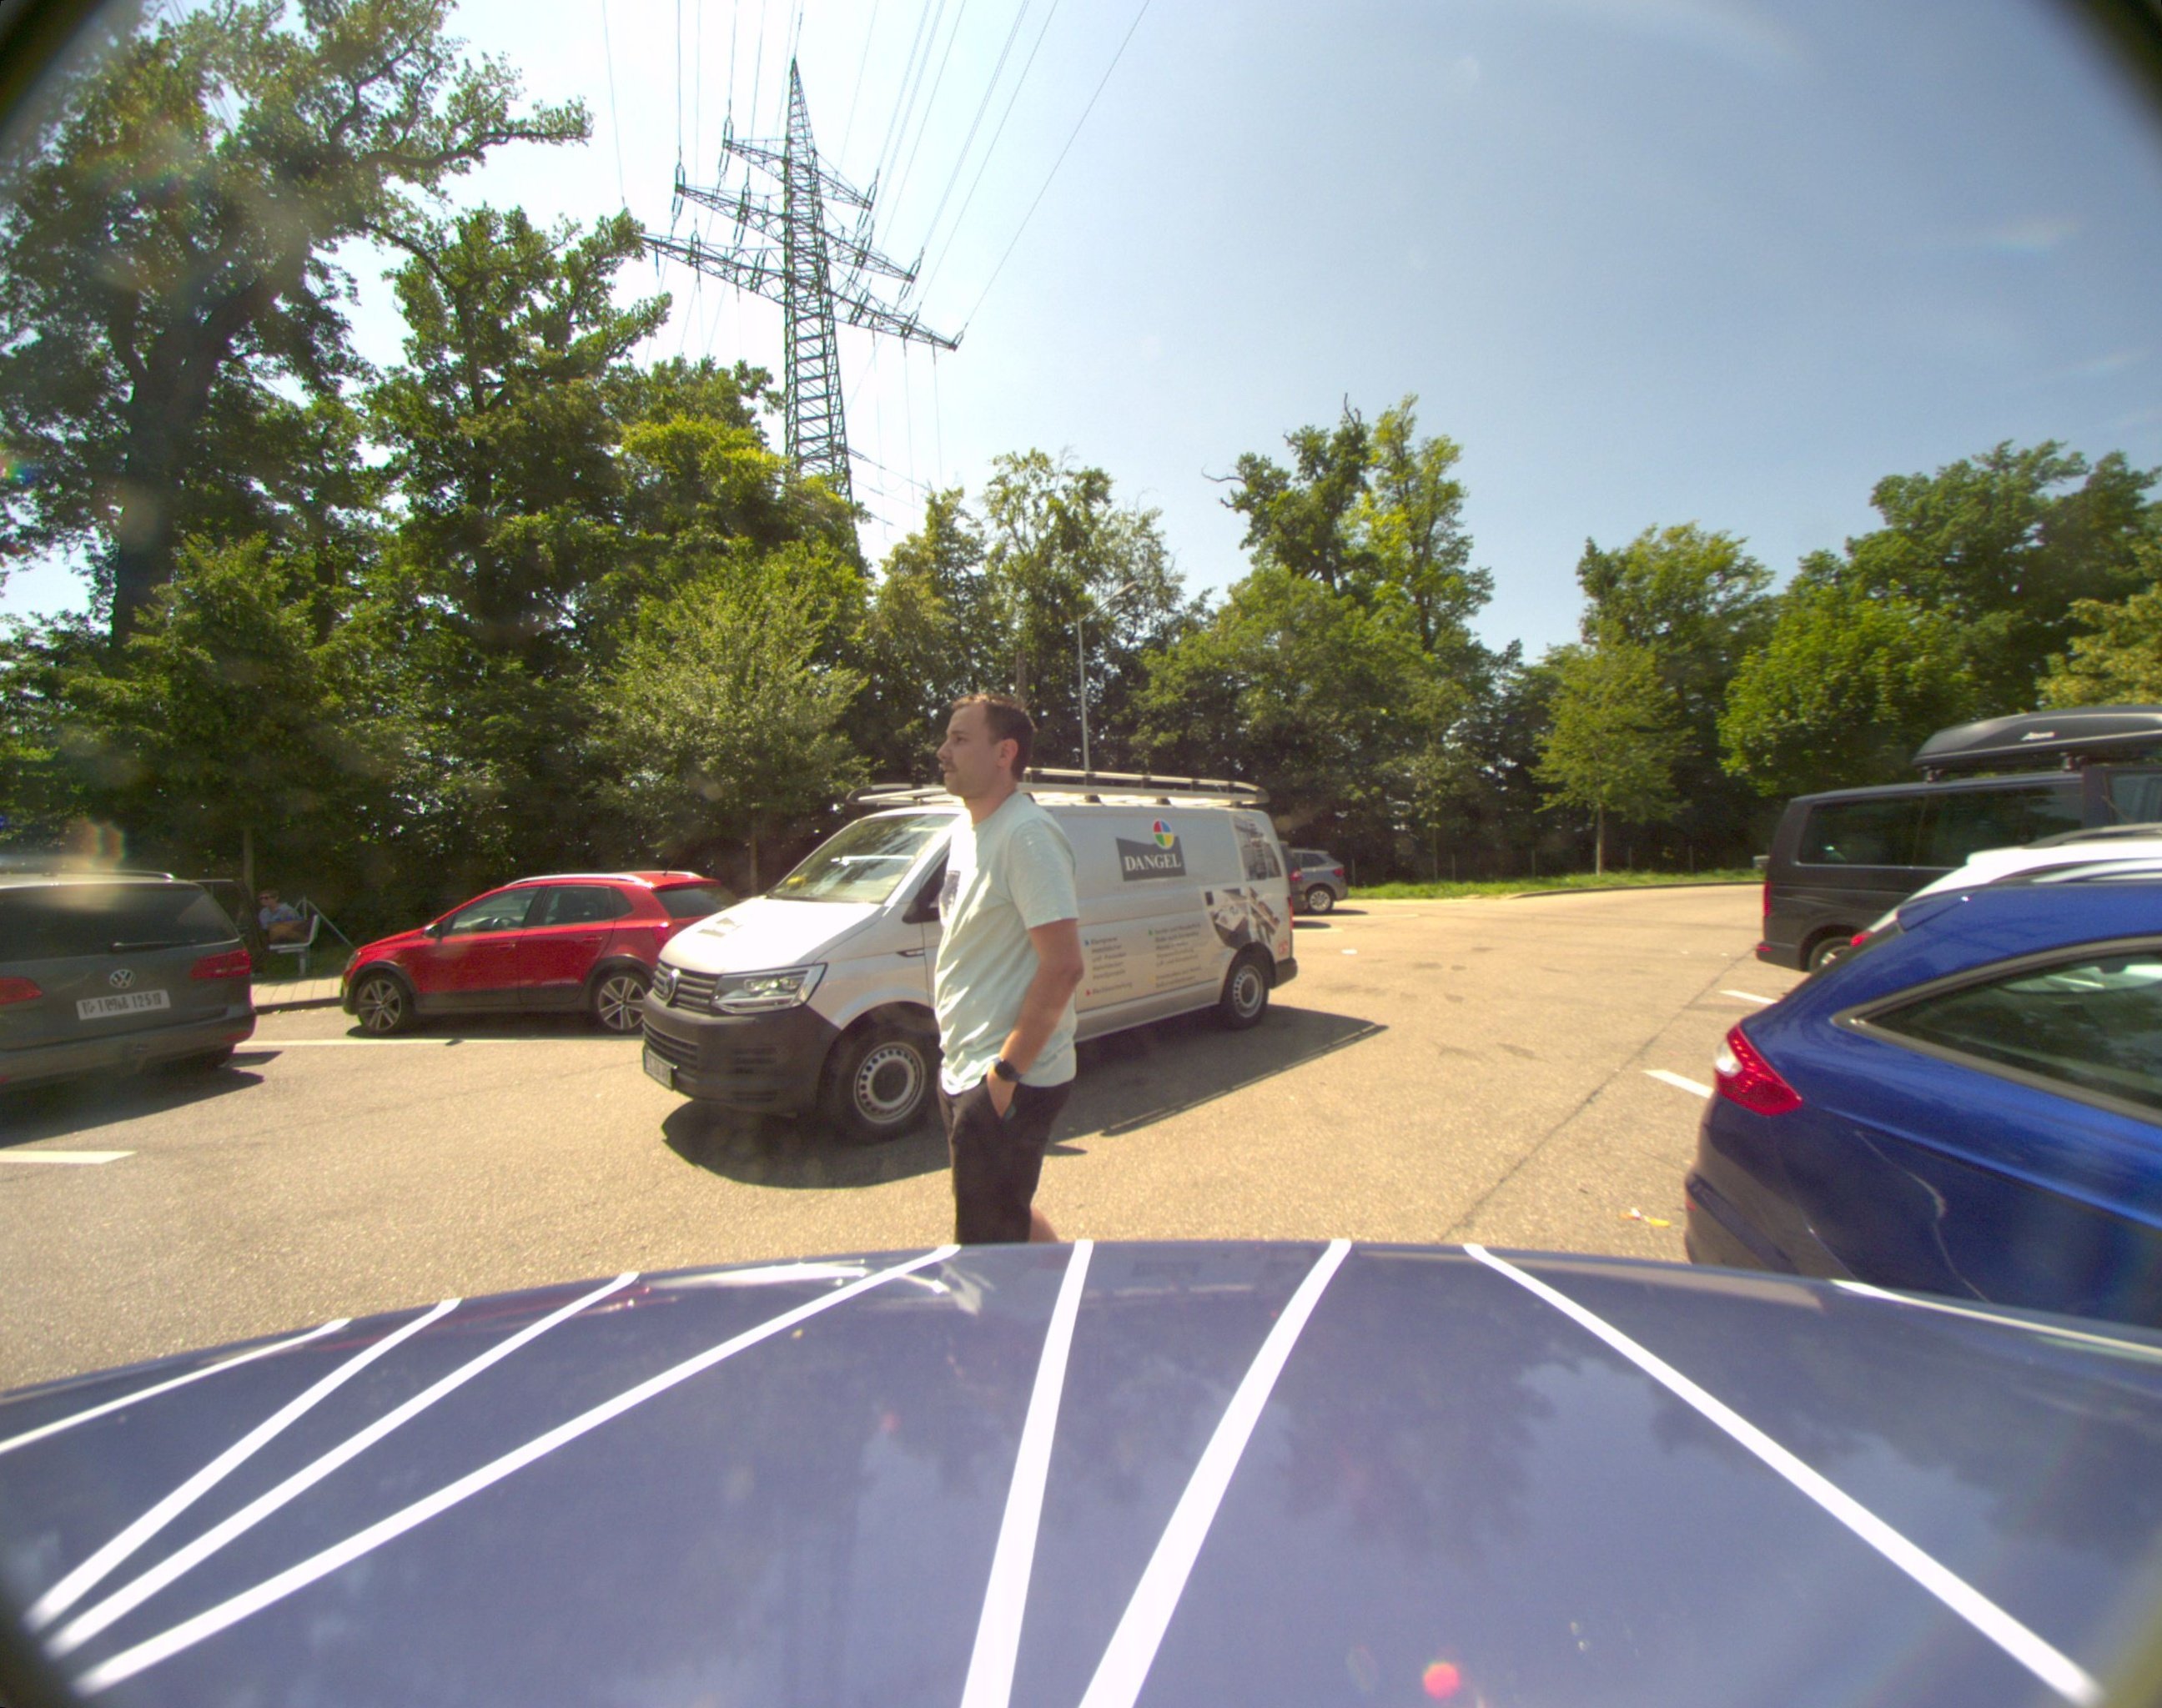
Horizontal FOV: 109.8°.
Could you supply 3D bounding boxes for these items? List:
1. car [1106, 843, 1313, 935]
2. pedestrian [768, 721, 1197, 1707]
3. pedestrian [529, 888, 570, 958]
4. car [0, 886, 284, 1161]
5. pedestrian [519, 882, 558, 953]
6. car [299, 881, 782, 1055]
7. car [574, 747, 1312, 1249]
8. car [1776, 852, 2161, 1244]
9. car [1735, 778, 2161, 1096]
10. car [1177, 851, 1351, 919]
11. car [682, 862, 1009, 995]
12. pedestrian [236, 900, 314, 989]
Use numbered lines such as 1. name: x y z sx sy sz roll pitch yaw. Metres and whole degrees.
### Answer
1. car: 2.519 0.683 15.493 3.882 1.680 1.882 -1 0 5
2. pedestrian: -0.250 0.702 1.817 0.635 1.857 0.746 -2 0 -43
3. pedestrian: -10.177 1.302 14.539 0.490 1.291 0.506 -2 0 41
4. car: -8.354 1.098 5.444 3.950 1.581 1.753 -1 1 11
5. pedestrian: -10.979 1.272 15.372 0.490 1.367 0.506 -2 0 41
6. car: -5.253 1.067 7.652 3.804 1.449 1.637 -1 1 7
7. car: -0.478 0.600 5.829 1.995 2.137 5.323 -2 -1 45
8. car: 4.769 0.704 2.430 1.607 1.405 3.743 -2 -1 -1
9. car: 7.297 0.458 5.026 2.048 1.850 4.430 -2 -1 -1
10. car: 4.248 0.710 18.118 3.805 1.468 1.743 -1 1 5
11. car: -3.017 0.941 10.295 3.806 1.538 1.759 -1 1 2
12. pedestrian: -11.771 1.308 11.101 0.680 1.211 0.675 -4 -2 36
